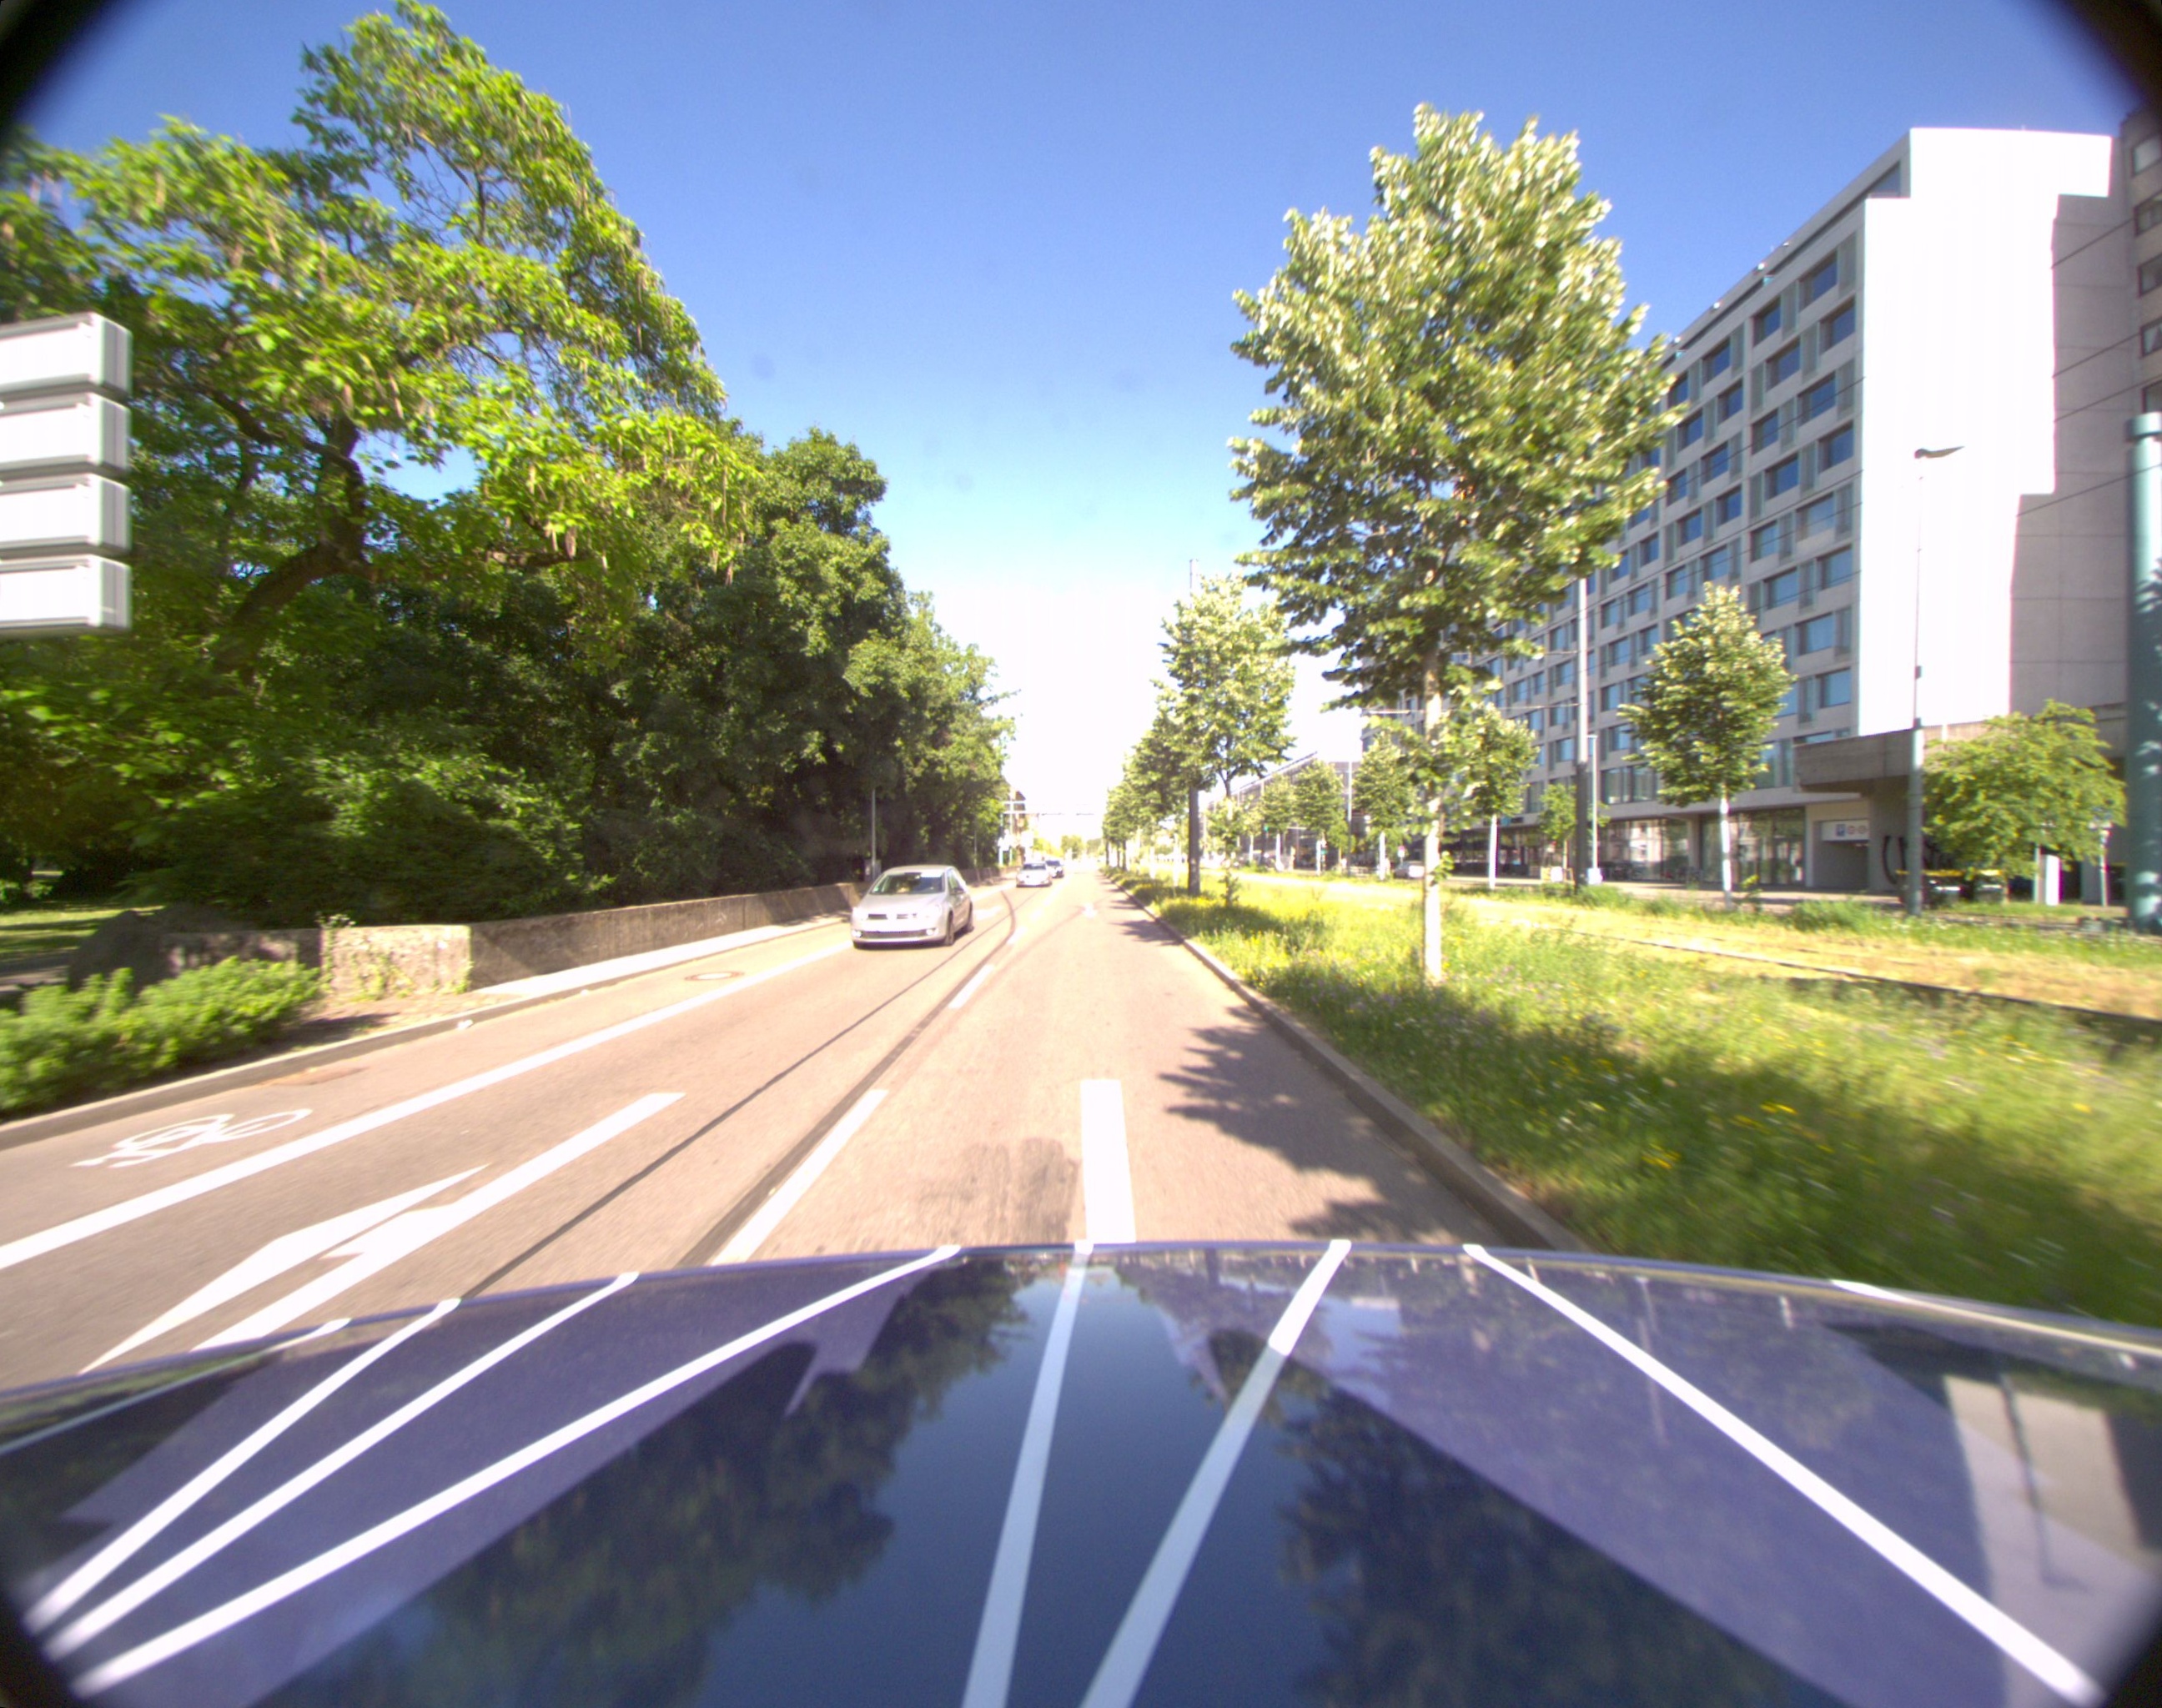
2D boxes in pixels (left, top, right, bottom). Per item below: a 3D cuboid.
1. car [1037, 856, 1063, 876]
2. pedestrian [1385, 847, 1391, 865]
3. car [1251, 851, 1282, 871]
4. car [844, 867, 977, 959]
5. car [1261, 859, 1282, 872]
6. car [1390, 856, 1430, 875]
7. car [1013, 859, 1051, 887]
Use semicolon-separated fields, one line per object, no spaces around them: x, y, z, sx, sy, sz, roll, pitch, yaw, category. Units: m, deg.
-2.473;0.905;60.506;1.999;1.493;3.999;0;0;-2;car
31.143;0.206;77.108;0.509;1.829;0.515;-1;1;12;pedestrian
17.795;0.618;73.177;1.998;1.808;4.286;-1;0;1;car
-3.167;1.036;14.921;1.703;1.465;3.999;-1;0;0;car
24.758;1.470;99.019;1.827;1.499;3.813;-1;0;0;car
28.741;1.020;66.492;1.865;1.541;3.773;-1;0;0;car
-2.668;1.013;42.339;1.839;1.415;3.999;-1;0;0;car
